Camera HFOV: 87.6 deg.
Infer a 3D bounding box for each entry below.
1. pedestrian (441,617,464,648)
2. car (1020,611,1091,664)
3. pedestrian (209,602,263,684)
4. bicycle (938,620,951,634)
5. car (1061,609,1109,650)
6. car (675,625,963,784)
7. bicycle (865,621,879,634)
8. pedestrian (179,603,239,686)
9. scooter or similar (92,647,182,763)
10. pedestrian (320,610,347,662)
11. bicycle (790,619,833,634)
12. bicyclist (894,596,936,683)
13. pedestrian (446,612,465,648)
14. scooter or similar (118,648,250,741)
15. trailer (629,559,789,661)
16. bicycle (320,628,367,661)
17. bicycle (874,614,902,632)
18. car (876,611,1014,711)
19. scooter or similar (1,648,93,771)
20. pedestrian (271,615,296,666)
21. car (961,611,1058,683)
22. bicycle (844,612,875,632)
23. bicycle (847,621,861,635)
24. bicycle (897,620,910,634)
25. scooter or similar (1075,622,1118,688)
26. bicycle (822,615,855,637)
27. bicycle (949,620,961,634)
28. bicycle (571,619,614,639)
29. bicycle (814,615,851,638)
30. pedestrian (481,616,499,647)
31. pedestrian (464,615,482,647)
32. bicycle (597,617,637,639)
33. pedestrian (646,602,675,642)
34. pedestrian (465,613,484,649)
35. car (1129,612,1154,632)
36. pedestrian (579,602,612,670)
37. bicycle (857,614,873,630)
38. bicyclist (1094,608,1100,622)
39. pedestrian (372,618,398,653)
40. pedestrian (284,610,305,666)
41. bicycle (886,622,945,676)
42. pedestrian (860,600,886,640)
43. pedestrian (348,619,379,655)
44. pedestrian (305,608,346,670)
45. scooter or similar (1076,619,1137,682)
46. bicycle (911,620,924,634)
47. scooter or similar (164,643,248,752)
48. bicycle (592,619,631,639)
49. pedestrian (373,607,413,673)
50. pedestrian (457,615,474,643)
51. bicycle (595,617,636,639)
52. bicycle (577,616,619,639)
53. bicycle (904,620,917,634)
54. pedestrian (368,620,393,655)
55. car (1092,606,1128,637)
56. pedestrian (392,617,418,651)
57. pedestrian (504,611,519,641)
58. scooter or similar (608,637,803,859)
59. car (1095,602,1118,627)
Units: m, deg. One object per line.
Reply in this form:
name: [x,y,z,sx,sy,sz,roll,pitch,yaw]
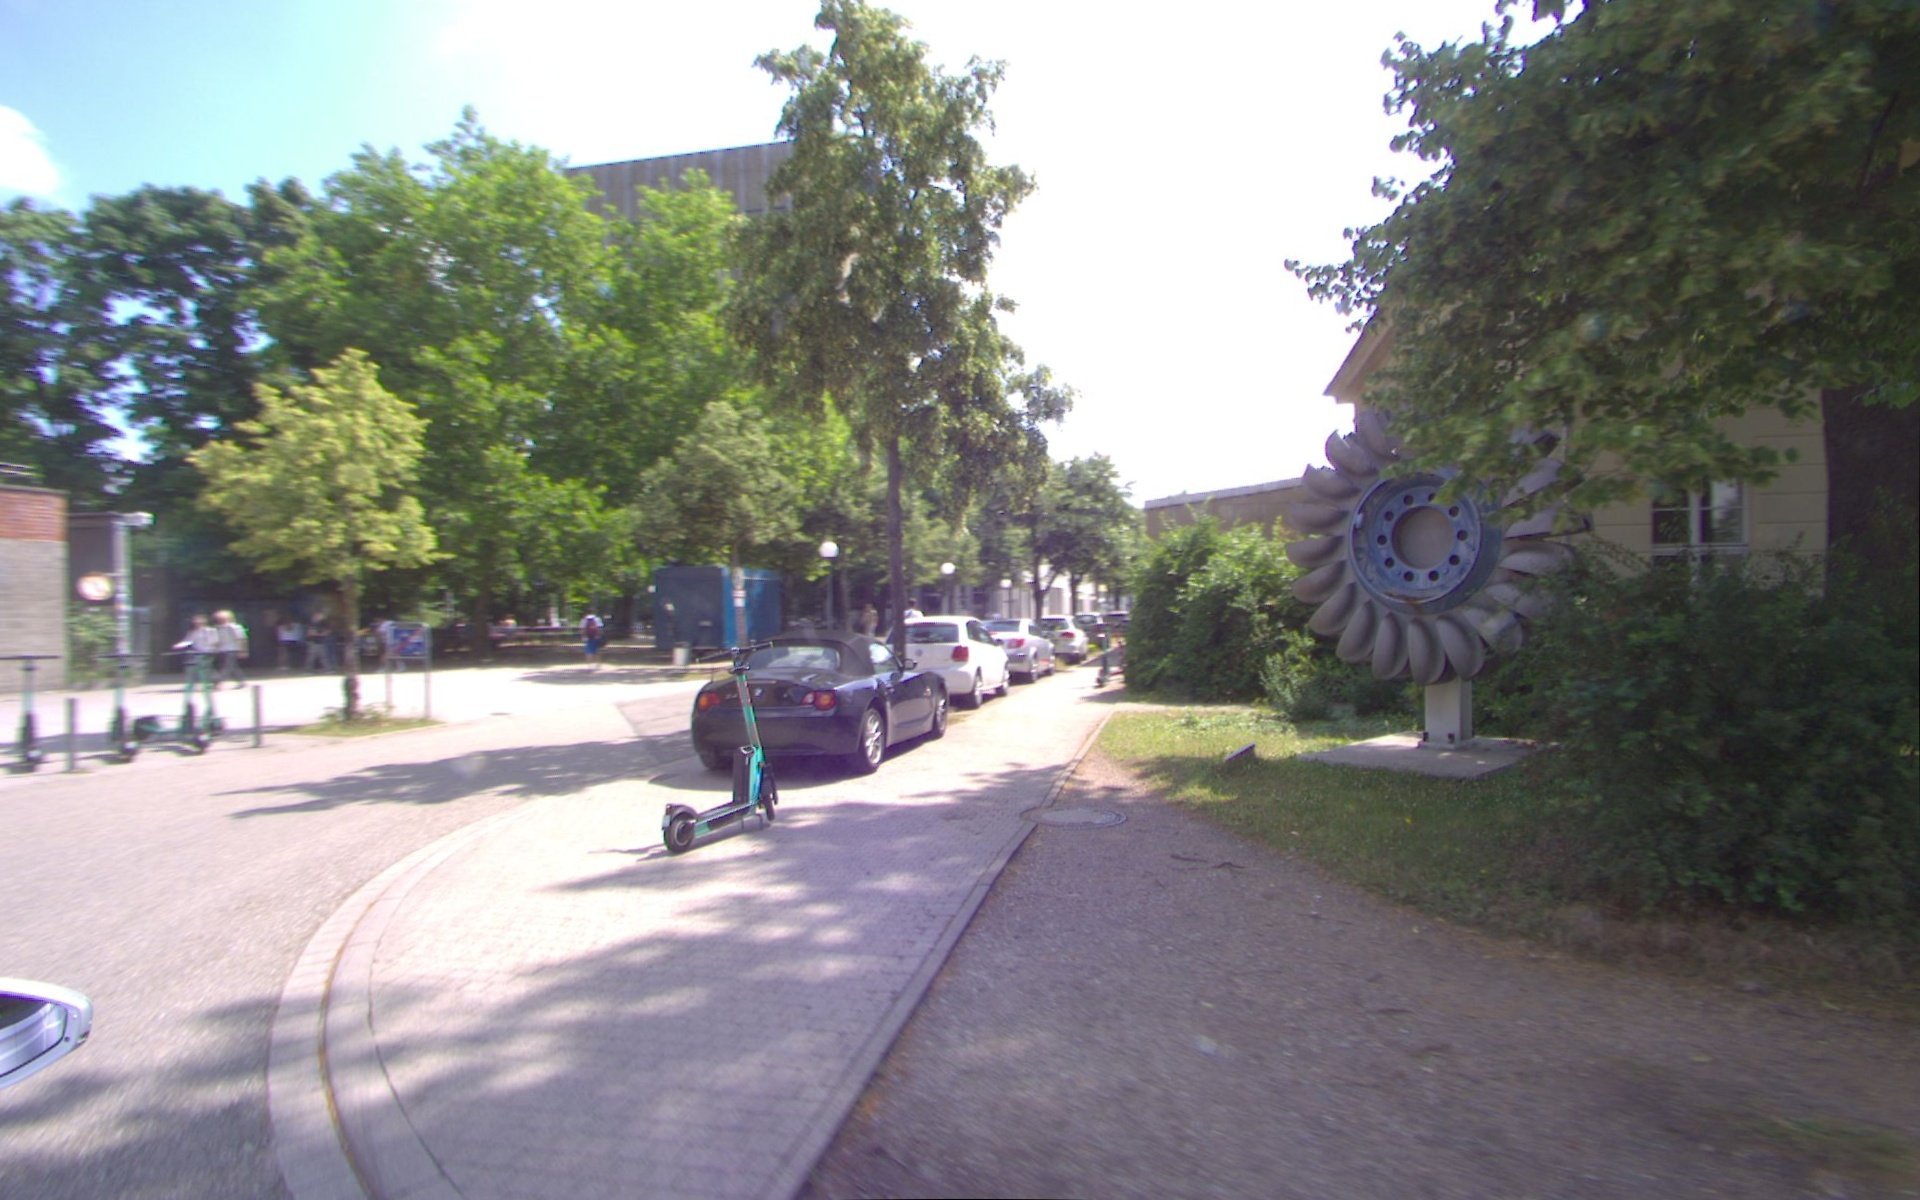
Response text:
pedestrian: [-21.386,1.356,42.233,0.559,1.267,0.767,0,0,2]
car: [3.037,1.105,30.948,1.698,1.486,4.669,-1,-1,11]
pedestrian: [-15.992,0.945,22.130,0.554,1.785,0.805,0,0,12]
bicycle: [-1.265,2.158,80.987,0.543,1.101,1.971,1,0,13]
car: [5.310,1.225,42.138,1.677,1.594,4.138,-2,-1,11]
car: [-1.260,0.951,10.705,1.682,1.297,3.996,0,-1,14]
bicycle: [-7.233,2.256,82.328,0.543,1.101,1.971,1,0,13]
pedestrian: [-16.603,0.970,22.145,0.566,1.803,0.917,0,0,12]
scooter or similar: [-9.755,1.201,11.854,1.557,1.241,0.560,-1,0,41]
pedestrian: [-20.524,1.189,32.814,0.668,1.673,0.501,1,1,-26]
bicycle: [-9.884,1.768,66.809,2.694,1.016,0.878,1,0,-30]
bicyclist: [-1.078,0.941,24.123,0.859,2.040,0.849,0,0,10]
pedestrian: [-19.963,1.198,39.629,0.585,1.388,0.701,0,2,-21]
scooter or similar: [-10.663,1.267,13.801,0.556,1.164,1.345,0,-1,25]
trailer: [-8.213,0.332,33.643,2.654,3.066,6.262,1,0,13]
bicycle: [-21.002,1.514,34.132,1.331,1.090,0.415,1,-2,-31]
bicycle: [-5.481,1.756,75.993,1.986,1.270,0.586,-1,0,-19]
car: [-0.131,0.944,17.013,1.562,1.485,3.987,-1,-1,11]
scooter or similar: [-10.194,1.180,11.166,1.557,1.241,0.566,-1,0,41]
pedestrian: [-21.488,1.280,31.815,0.597,1.614,0.410,1,1,-29]
car: [1.206,0.992,22.635,1.620,1.409,3.986,-1,0,11]
bicycle: [-7.570,1.646,75.290,2.251,1.469,0.605,0,0,-20]
bicycle: [-8.740,2.276,82.566,0.543,1.101,1.971,1,0,13]
bicycle: [-4.585,2.208,81.644,0.543,1.101,1.971,1,0,13]
scooter or similar: [2.702,1.064,19.691,0.513,1.237,1.233,-1,0,23]
bicycle: [-6.610,1.416,54.532,1.744,1.147,0.458,0,0,-4]
bicycle: [-0.396,2.133,80.580,0.543,1.101,1.971,1,0,13]
bicycle: [-18.710,1.480,50.989,1.975,1.021,0.585,-1,0,4]
bicycle: [-7.150,1.461,56.157,2.021,1.251,0.809,1,0,-4]
pedestrian: [-18.985,1.265,40.448,0.585,1.250,0.740,0,2,-21]
pedestrian: [-19.573,1.258,40.271,0.585,1.250,0.740,0,2,-21]
bicycle: [-18.599,1.525,54.359,1.975,1.133,0.585,-1,0,4]
pedestrian: [-15.003,1.114,50.148,1.112,1.974,0.884,2,0,-40]
pedestrian: [-19.158,1.222,39.538,0.585,1.388,0.740,0,2,-21]
car: [14.532,1.767,80.082,1.753,1.495,4.458,-2,-1,13]
pedestrian: [-10.257,0.989,28.187,0.839,1.861,0.876,0,2,-17]
bicycle: [-7.793,1.775,81.952,0.517,1.269,2.379,-1,-1,14]
bicyclist: [20.283,2.230,148.493,0.700,2.040,1.018,-2,0,11]
pedestrian: [-21.903,1.340,38.158,0.551,1.288,0.692,0,0,14]
pedestrian: [-20.979,1.192,31.578,0.523,1.734,0.445,0,1,-31]
bicycle: [-1.044,1.147,24.319,0.868,1.215,2.748,0,-1,10]
pedestrian: [-4.403,1.033,50.718,0.905,1.980,0.890,2,0,23]
pedestrian: [-22.858,1.417,38.383,0.677,1.340,0.777,-1,0,14]
pedestrian: [-18.066,1.120,28.501,0.484,1.742,0.874,-2,-2,41]
scooter or similar: [3.165,1.072,21.602,1.251,1.284,0.592,-2,2,-40]
bicycle: [-3.440,2.193,81.466,0.543,1.101,1.971,1,0,13]
scooter or similar: [-9.417,1.178,12.487,1.557,1.241,0.520,-1,0,41]
bicycle: [-19.486,1.616,55.993,1.975,1.133,0.585,-1,0,4]
pedestrian: [-16.103,1.136,28.427,0.444,1.843,0.874,-2,-2,41]
pedestrian: [-22.086,1.291,44.711,0.384,1.210,0.730,0,0,4]
bicycle: [-18.420,1.486,53.544,1.975,1.133,0.585,-1,0,4]
bicycle: [-18.789,1.415,51.972,1.975,1.133,0.585,-1,0,4]
bicycle: [-3.997,2.199,81.531,0.543,1.101,1.971,1,0,13]
pedestrian: [-22.800,1.468,39.398,0.635,1.340,0.558,-1,0,15]
car: [8.649,1.245,57.357,1.794,1.685,4.583,-2,-2,11]
pedestrian: [-21.676,1.315,39.103,0.551,1.288,0.692,0,0,14]
pedestrian: [-21.301,1.228,47.576,0.497,1.441,0.460,0,0,3]
scooter or similar: [-1.622,0.887,6.575,0.545,1.270,1.379,0,-1,21]
car: [15.438,1.529,105.425,2.051,2.573,4.312,1,0,13]
